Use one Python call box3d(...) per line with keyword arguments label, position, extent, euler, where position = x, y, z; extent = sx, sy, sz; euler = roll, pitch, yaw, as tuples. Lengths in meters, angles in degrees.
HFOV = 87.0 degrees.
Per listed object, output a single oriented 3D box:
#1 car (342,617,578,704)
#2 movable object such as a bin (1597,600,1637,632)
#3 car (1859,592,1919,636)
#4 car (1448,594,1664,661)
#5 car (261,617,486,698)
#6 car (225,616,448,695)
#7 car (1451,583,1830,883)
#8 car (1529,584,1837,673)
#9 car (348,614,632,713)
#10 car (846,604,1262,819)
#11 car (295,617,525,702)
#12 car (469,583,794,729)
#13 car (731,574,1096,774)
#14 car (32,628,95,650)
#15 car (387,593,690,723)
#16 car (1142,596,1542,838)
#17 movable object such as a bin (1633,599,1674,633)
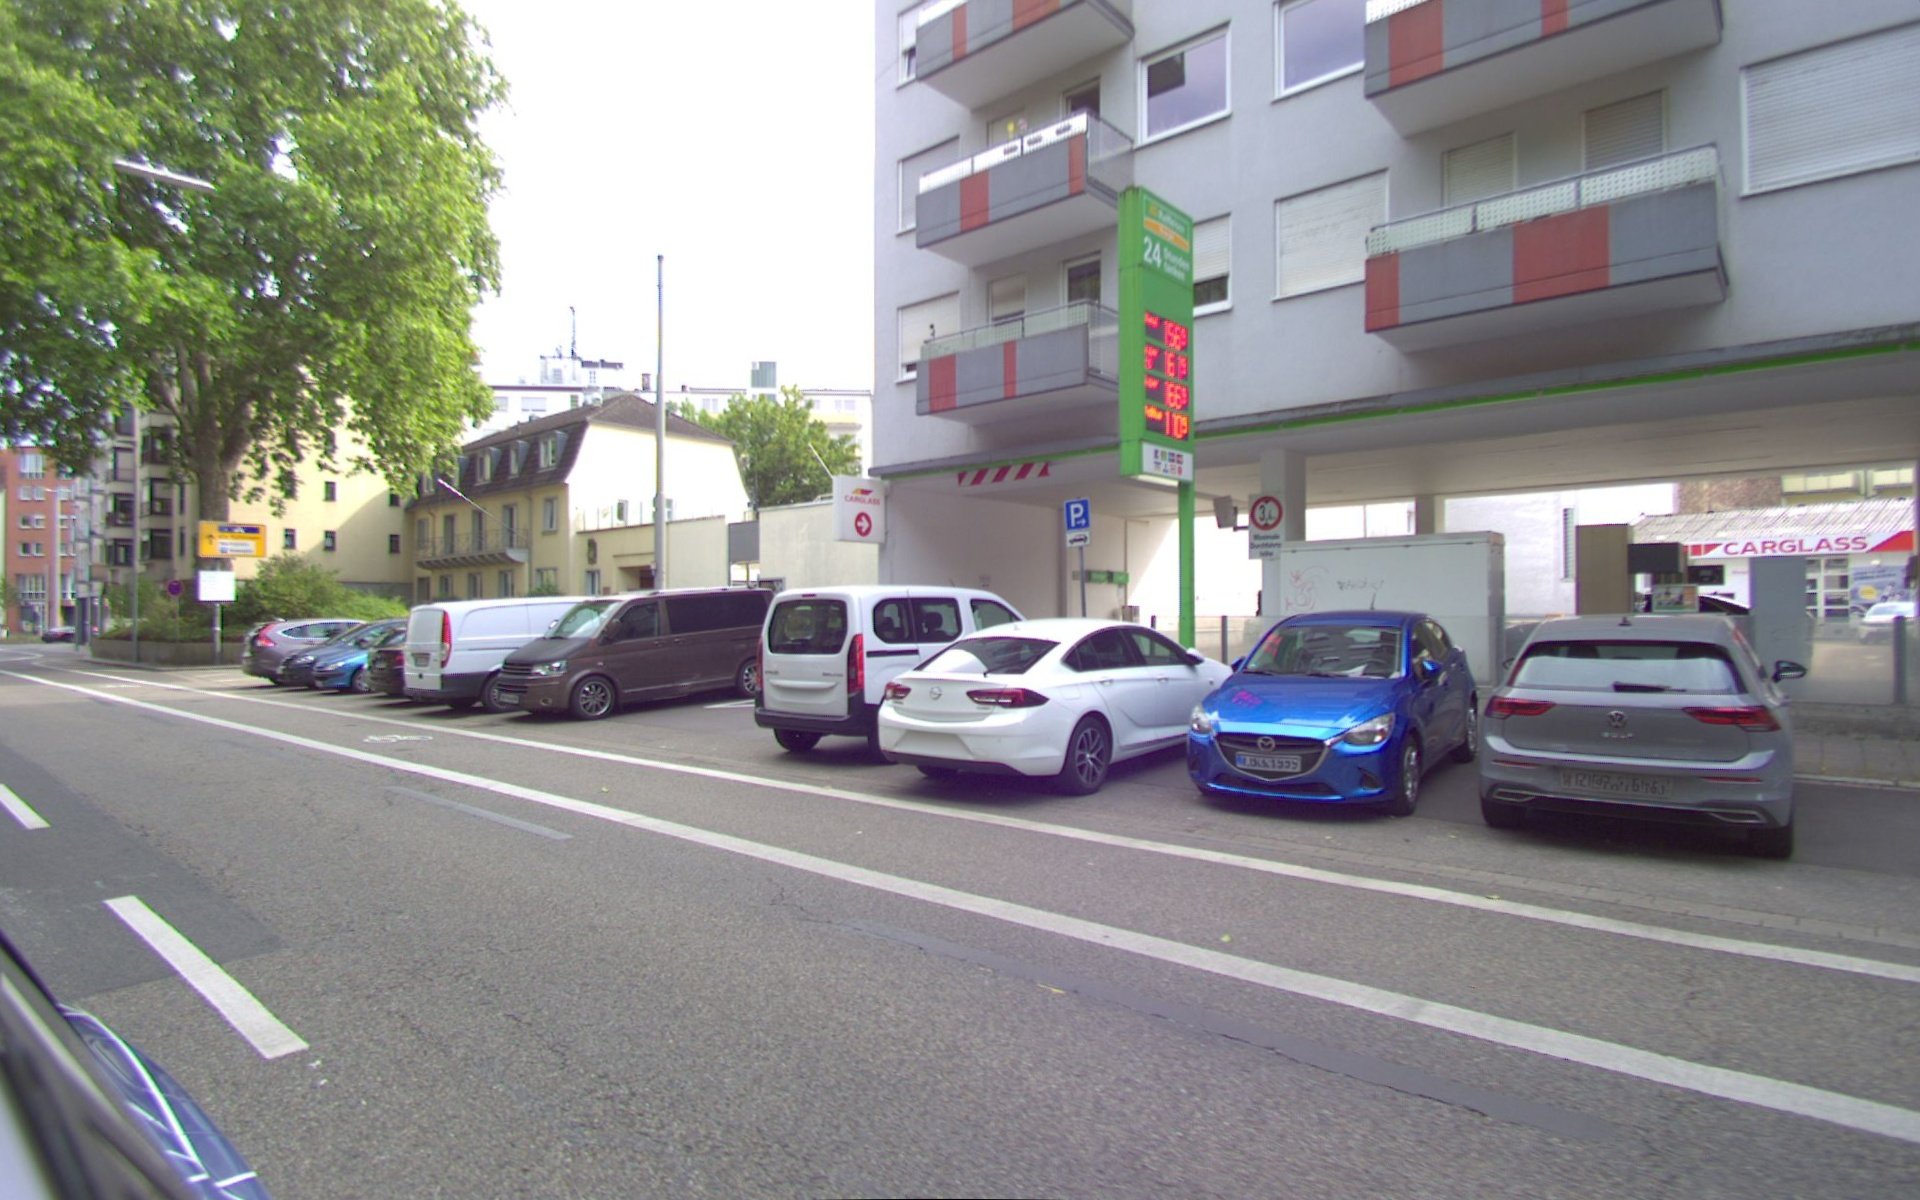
box3d(label="car", position=(-10.550, 1.216, 21.578), extent=(1.719, 1.462, 4.149), euler=(-2, 1, 42))
box3d(label="movable object such as a bin", position=(29.932, 0.735, 46.129), extent=(1.229, 1.454, 1.167), euler=(0, -1, -38))
box3d(label="car", position=(32.753, 0.482, 35.225), extent=(1.729, 1.479, 3.885), euler=(-2, -1, 36))
box3d(label="car", position=(14.772, 0.672, 25.201), extent=(4.365, 1.533, 1.820), euler=(-2, -1, 41))
box3d(label="car", position=(-13.975, 1.309, 24.317), extent=(1.732, 1.560, 4.316), euler=(-2, 1, 42))
box3d(label="car", position=(-15.765, 1.345, 25.783), extent=(1.753, 1.618, 4.471), euler=(-2, 1, 42))
box3d(label="car", position=(5.291, 0.714, 7.609), extent=(1.836, 1.525, 4.108), euler=(-2, 1, 41))
box3d(label="car", position=(11.968, 0.470, 16.907), extent=(3.997, 1.308, 1.888), euler=(-2, -1, 40))
box3d(label="car", position=(-9.072, 1.141, 19.871), extent=(1.873, 1.481, 4.656), euler=(-2, 1, 42))
box3d(label="car", position=(1.116, 0.867, 9.817), extent=(1.873, 1.462, 4.227), euler=(-2, 1, 41))
box3d(label="car", position=(-12.352, 1.274, 22.942), extent=(1.719, 1.522, 4.221), euler=(-2, 1, 42))
box3d(label="car", position=(-5.274, 0.791, 16.783), extent=(1.993, 1.948, 4.717), euler=(-2, 1, 42))
box3d(label="car", position=(-0.385, 0.697, 11.970), extent=(1.923, 1.862, 4.168), euler=(-2, 1, 41))
box3d(label="car", position=(-74.342, 3.227, 84.005), extent=(1.940, 1.683, 4.562), euler=(-1, -1, -12))
box3d(label="car", position=(-7.378, 0.917, 18.111), extent=(1.949, 1.873, 4.568), euler=(-2, 1, 42))
box3d(label="car", position=(3.560, 0.790, 8.922), extent=(1.909, 1.462, 4.256), euler=(-2, 1, 41))
box3d(label="movable object such as a bin", position=(30.815, 0.719, 45.001), extent=(1.229, 1.454, 1.167), euler=(0, -1, -38))
